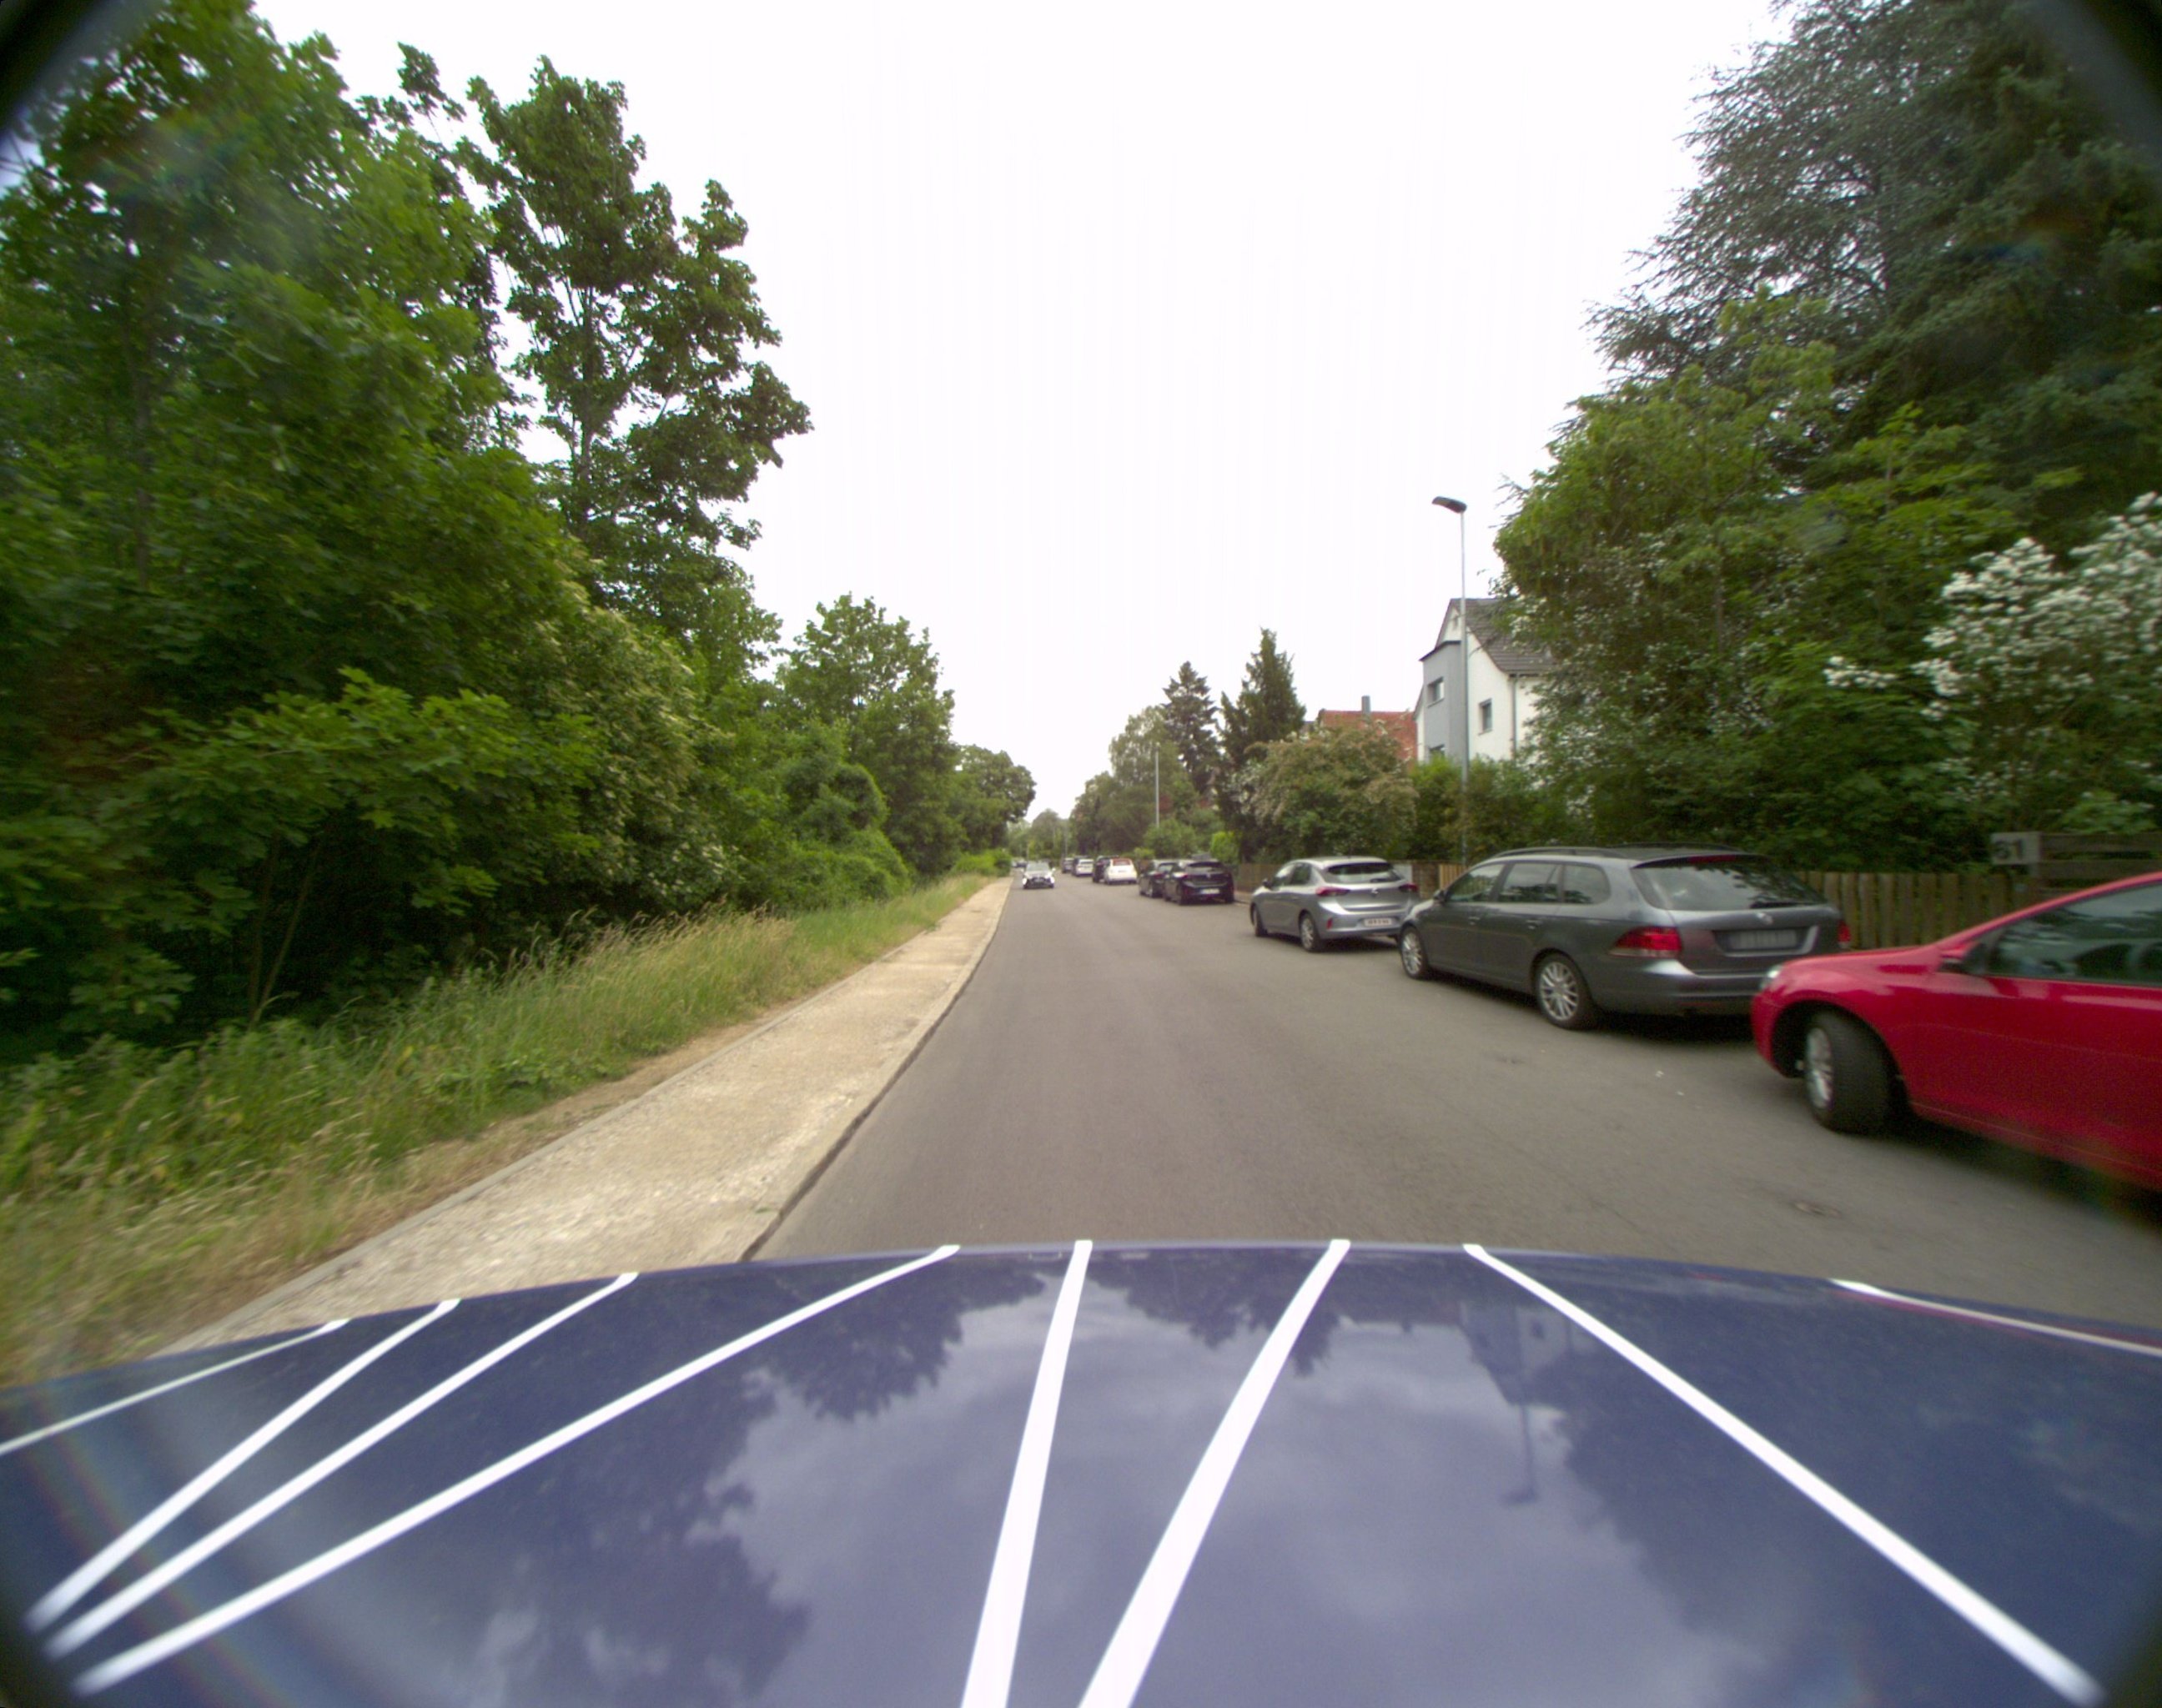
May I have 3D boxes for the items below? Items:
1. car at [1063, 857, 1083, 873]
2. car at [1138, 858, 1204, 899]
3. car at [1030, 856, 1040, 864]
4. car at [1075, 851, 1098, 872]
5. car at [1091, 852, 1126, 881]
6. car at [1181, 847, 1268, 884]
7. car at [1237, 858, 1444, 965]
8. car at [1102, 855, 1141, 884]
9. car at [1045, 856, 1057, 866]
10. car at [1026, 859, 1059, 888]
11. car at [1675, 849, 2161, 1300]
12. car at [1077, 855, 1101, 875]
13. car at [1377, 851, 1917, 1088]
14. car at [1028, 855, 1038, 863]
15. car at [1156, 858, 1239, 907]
[{"bbox_3d":[-0.862,1.171,83.025,1.801,1.598,4.728,-2,0,-5],"label":"car"},{"bbox_3d":[3.400,0.880,29.418,1.712,1.408,4.147,-2,0,-5],"label":"car"},{"bbox_3d":[-10.256,1.227,168.472,1.923,1.670,4.192,-2,0,-7],"label":"car"},{"bbox_3d":[0.479,0.702,70.168,1.712,1.789,4.296,-2,0,-4],"label":"car"},{"bbox_3d":[1.706,0.766,48.602,1.797,1.654,4.390,-2,0,-4],"label":"car"},{"bbox_3d":[6.981,0.561,37.031,3.994,1.538,1.843,-3,0,10],"label":"car"},{"bbox_3d":[4.060,0.815,12.665,1.712,1.402,4.159,-2,0,-5],"label":"car"},{"bbox_3d":[2.318,0.861,44.106,1.712,1.502,3.944,-2,0,-5],"label":"car"},{"bbox_3d":[-5.354,1.248,134.175,1.923,1.670,4.193,-2,0,-4],"label":"car"},{"bbox_3d":[-2.237,1.068,43.546,1.712,1.466,4.193,-2,0,-4],"label":"car"},{"bbox_3d":[4.576,0.761,2.565,1.711,1.505,4.363,-2,0,0],"label":"car"},{"bbox_3d":[0.642,0.873,63.010,1.711,1.502,4.553,-2,0,-3],"label":"car"},{"bbox_3d":[4.650,0.765,7.295,1.711,1.505,4.494,-2,0,-2],"label":"car"},{"bbox_3d":[-10.905,1.210,172.742,1.923,1.670,4.192,-2,0,-7],"label":"car"},{"bbox_3d":[3.703,0.857,24.835,1.712,1.408,4.130,-2,0,-5],"label":"car"}]
